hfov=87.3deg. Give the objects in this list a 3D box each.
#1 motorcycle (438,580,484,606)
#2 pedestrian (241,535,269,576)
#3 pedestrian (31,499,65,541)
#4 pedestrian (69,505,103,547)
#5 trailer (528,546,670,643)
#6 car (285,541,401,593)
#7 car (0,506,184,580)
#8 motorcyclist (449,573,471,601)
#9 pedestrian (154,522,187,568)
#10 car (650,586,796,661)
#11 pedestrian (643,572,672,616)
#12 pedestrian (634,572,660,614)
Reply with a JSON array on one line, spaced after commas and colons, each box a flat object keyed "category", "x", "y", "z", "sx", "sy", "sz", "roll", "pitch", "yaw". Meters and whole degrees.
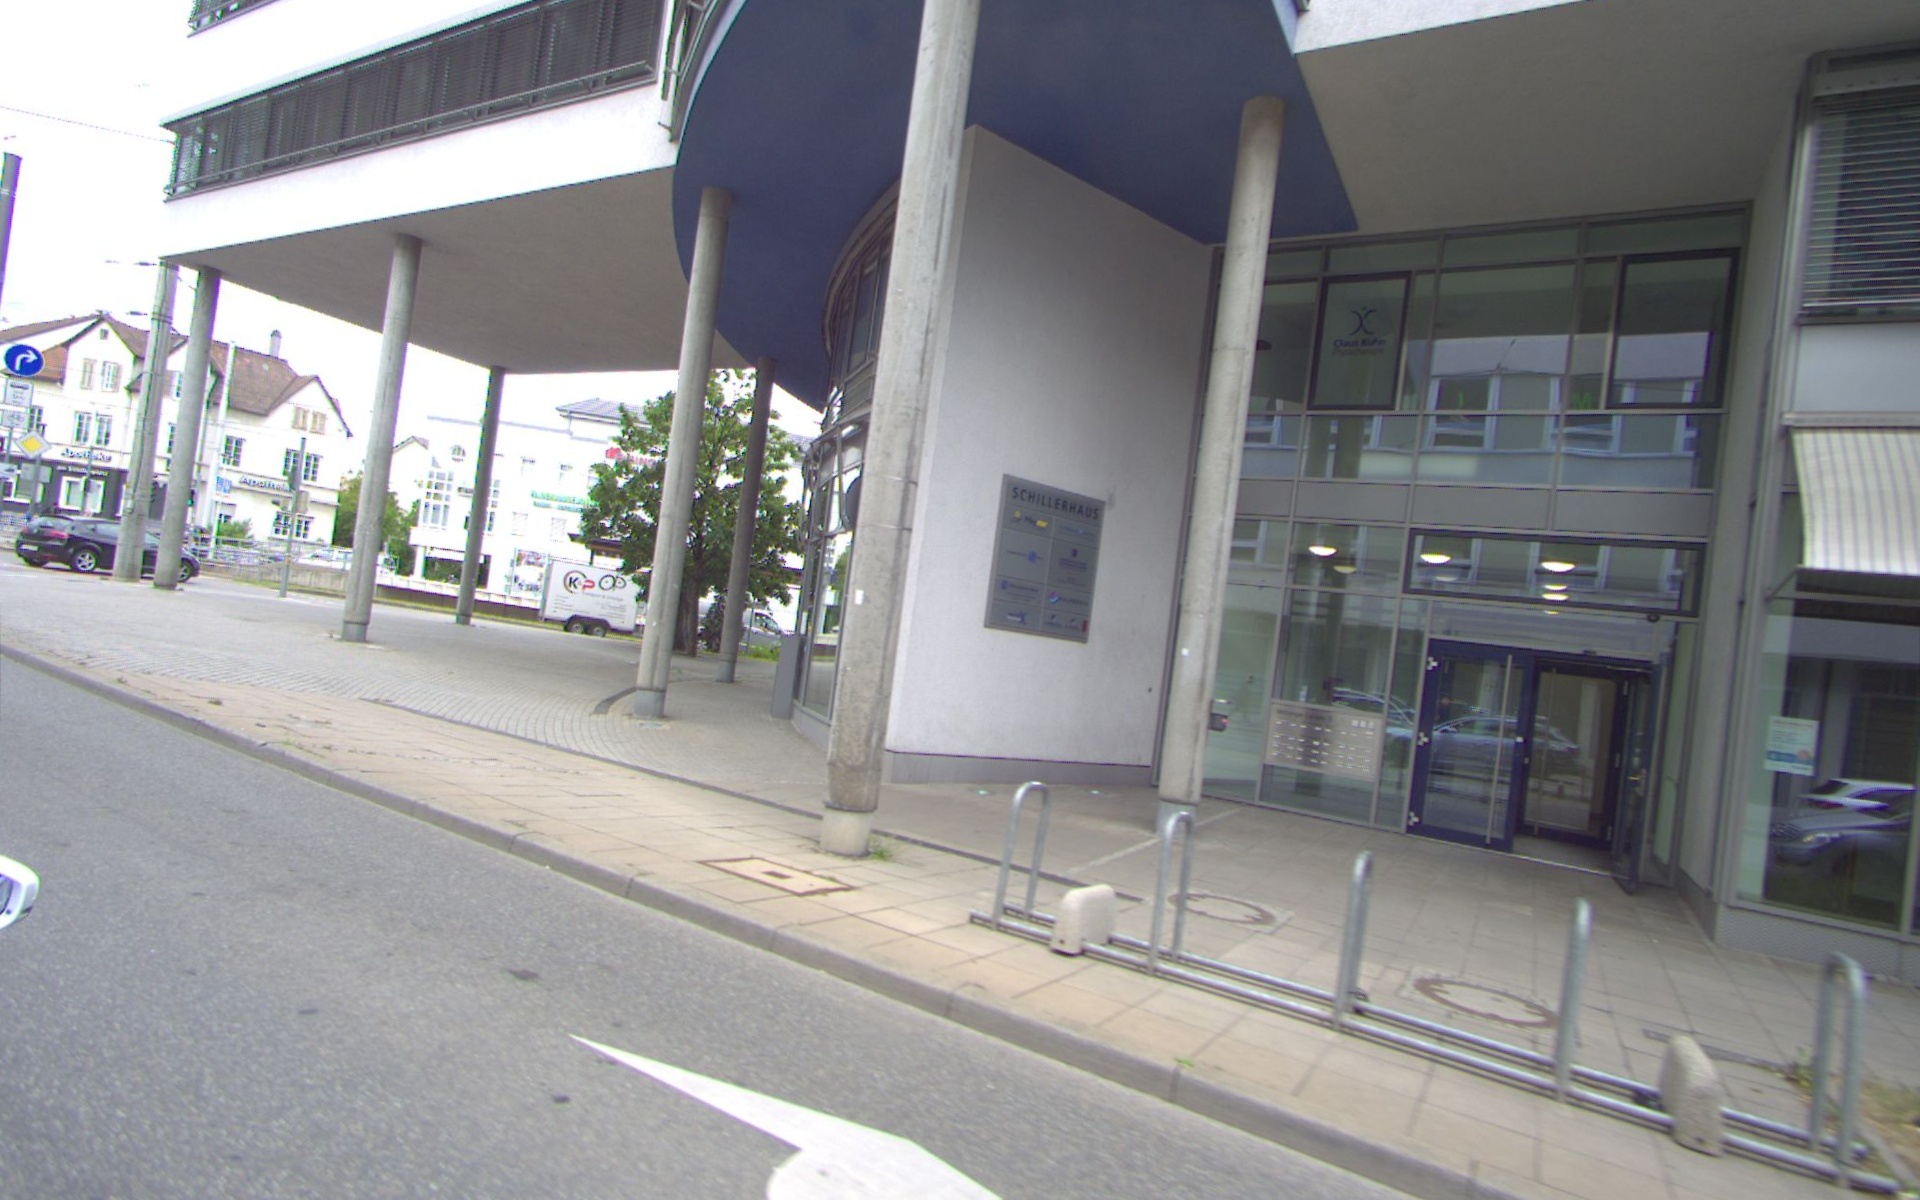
[{"category": "motorcycle", "x": -27.079, "y": -0.393, "z": 54.636, "sx": 1.947, "sy": 1.085, "sz": 0.763, "roll": 8, "pitch": -3, "yaw": -8}, {"category": "pedestrian", "x": -32.710, "y": -2.053, "z": 46.668, "sx": 0.641, "sy": 1.737, "sz": 0.786, "roll": 10, "pitch": -2, "yaw": -19}, {"category": "pedestrian", "x": -40.671, "y": -3.560, "z": 44.873, "sx": 0.637, "sy": 1.738, "sz": 0.705, "roll": 7, "pitch": -1, "yaw": 14}, {"category": "pedestrian", "x": -39.530, "y": -3.339, "z": 45.508, "sx": 0.638, "sy": 1.737, "sz": 0.789, "roll": 8, "pitch": -2, "yaw": 28}, {"category": "trailer", "x": -12.850, "y": -0.161, "z": 35.837, "sx": 4.275, "sy": 2.640, "sz": 1.873, "roll": 11, "pitch": -4, "yaw": -26}, {"category": "car", "x": -33.050, "y": -1.721, "z": 54.034, "sx": 4.703, "sy": 1.939, "sz": 1.990, "roll": 9, "pitch": -3, "yaw": -8}, {"category": "car", "x": -23.071, "y": -1.445, "z": 26.851, "sx": 1.710, "sy": 1.427, "sz": 3.998, "roll": 8, "pitch": -2, "yaw": -5}, {"category": "motorcyclist", "x": -27.149, "y": -0.709, "z": 54.623, "sx": 0.681, "sy": 1.409, "sz": 0.763, "roll": 8, "pitch": -3, "yaw": -8}, {"category": "pedestrian", "x": -32.337, "y": -2.234, "z": 41.193, "sx": 0.639, "sy": 1.738, "sz": 0.703, "roll": 8, "pitch": -1, "yaw": -12}, {"category": "car", "x": -8.869, "y": 0.906, "z": 37.782, "sx": 4.852, "sy": 1.965, "sz": 1.873, "roll": 11, "pitch": -4, "yaw": -26}, {"category": "pedestrian", "x": -13.557, "y": -0.274, "z": 45.029, "sx": 0.778, "sy": 1.794, "sz": 0.688, "roll": 7, "pitch": -3, "yaw": 41}, {"category": "pedestrian", "x": -13.653, "y": -0.302, "z": 43.893, "sx": 0.779, "sy": 1.737, "sz": 0.687, "roll": 10, "pitch": -2, "yaw": -22}]
